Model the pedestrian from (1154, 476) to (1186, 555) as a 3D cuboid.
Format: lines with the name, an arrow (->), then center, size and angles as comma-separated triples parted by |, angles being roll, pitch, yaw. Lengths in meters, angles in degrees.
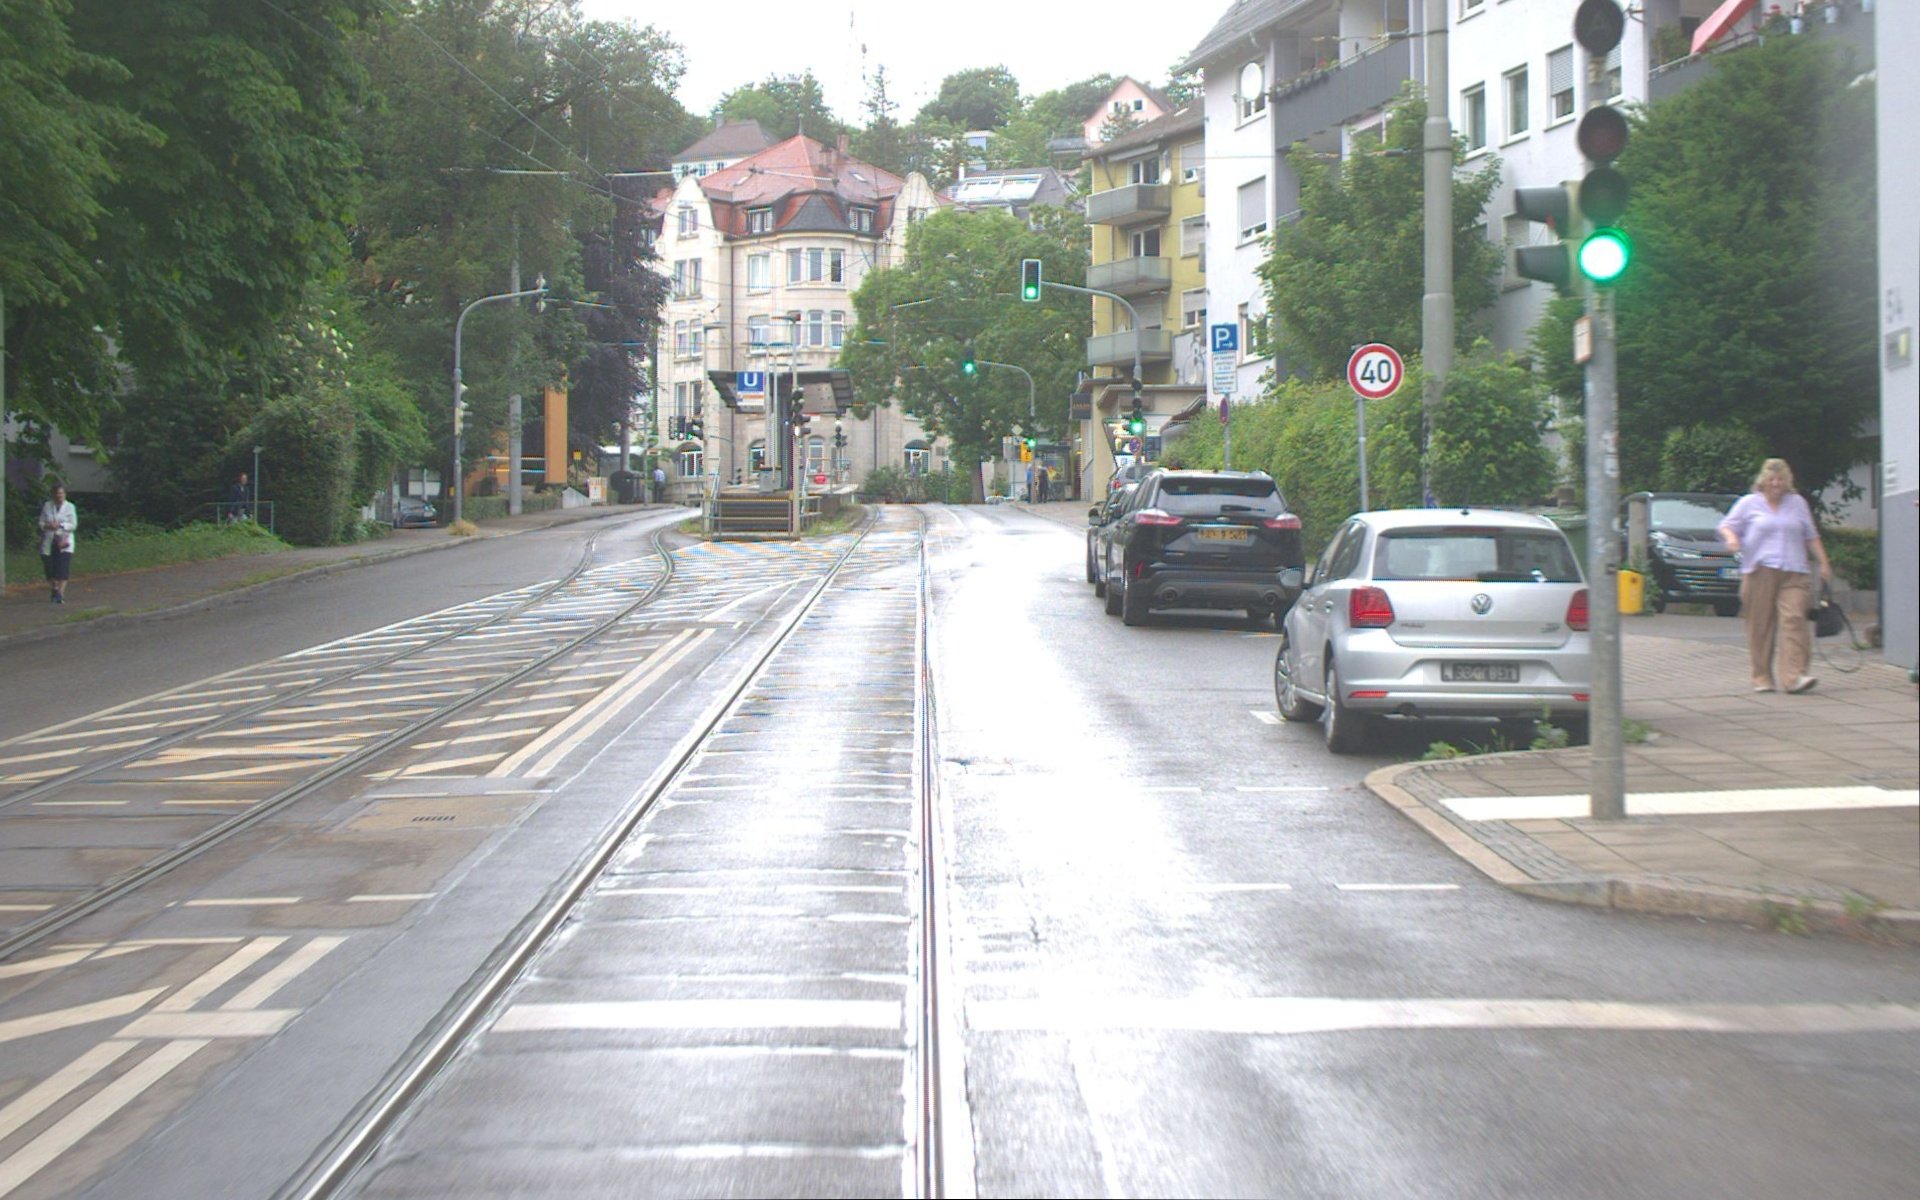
pedestrian -> 4.394, -1.765, 71.975 | 0.644, 1.623, 0.699 | 0, 0, 3

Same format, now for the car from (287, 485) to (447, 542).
car -> -16.163, -2.340, 93.743 | 3.991, 1.401, 1.680 | 0, -2, 22

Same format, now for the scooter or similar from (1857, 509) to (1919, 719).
scooter or similar -> 6.318, 0.064, 22.437 | 0.575, 1.245, 1.610 | -3, 3, 5

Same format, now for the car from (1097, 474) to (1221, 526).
car -> 6.623, -3.325, 114.801 | 3.987, 1.640, 1.808 | 1, 0, -1

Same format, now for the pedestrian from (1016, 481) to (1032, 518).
pedestrian -> 2.628, -4.131, 141.189 | 0.578, 1.462, 0.544 | 1, -2, -8

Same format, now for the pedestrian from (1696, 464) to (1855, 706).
pedestrian -> 5.508, -0.115, 23.254 | 0.882, 1.577, 0.801 | -1, 3, 1

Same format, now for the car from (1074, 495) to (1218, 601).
car -> 2.614, -0.763, 49.059 | 1.704, 1.421, 3.863 | 1, 1, -2

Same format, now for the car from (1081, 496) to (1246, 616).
car -> 2.556, -0.586, 44.040 | 1.704, 1.423, 4.251 | 1, 1, -2

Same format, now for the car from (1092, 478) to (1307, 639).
car -> 2.586, -0.492, 38.182 | 1.906, 1.636, 4.690 | 1, 1, -2

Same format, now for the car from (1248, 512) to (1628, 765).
car -> 2.929, 0.171, 21.866 | 1.704, 1.428, 4.102 | 1, 1, -2

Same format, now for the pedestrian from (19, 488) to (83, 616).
pedestrian -> -11.617, -0.617, 43.962 | 0.583, 1.595, 0.869 | 2, 1, -4

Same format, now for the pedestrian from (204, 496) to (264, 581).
pedestrian -> -14.853, -1.252, 70.370 | 0.916, 1.672, 0.739 | 0, -2, 26

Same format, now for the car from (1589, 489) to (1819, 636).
car -> 8.672, -0.393, 40.402 | 1.720, 1.510, 4.203 | 1, -2, -1
